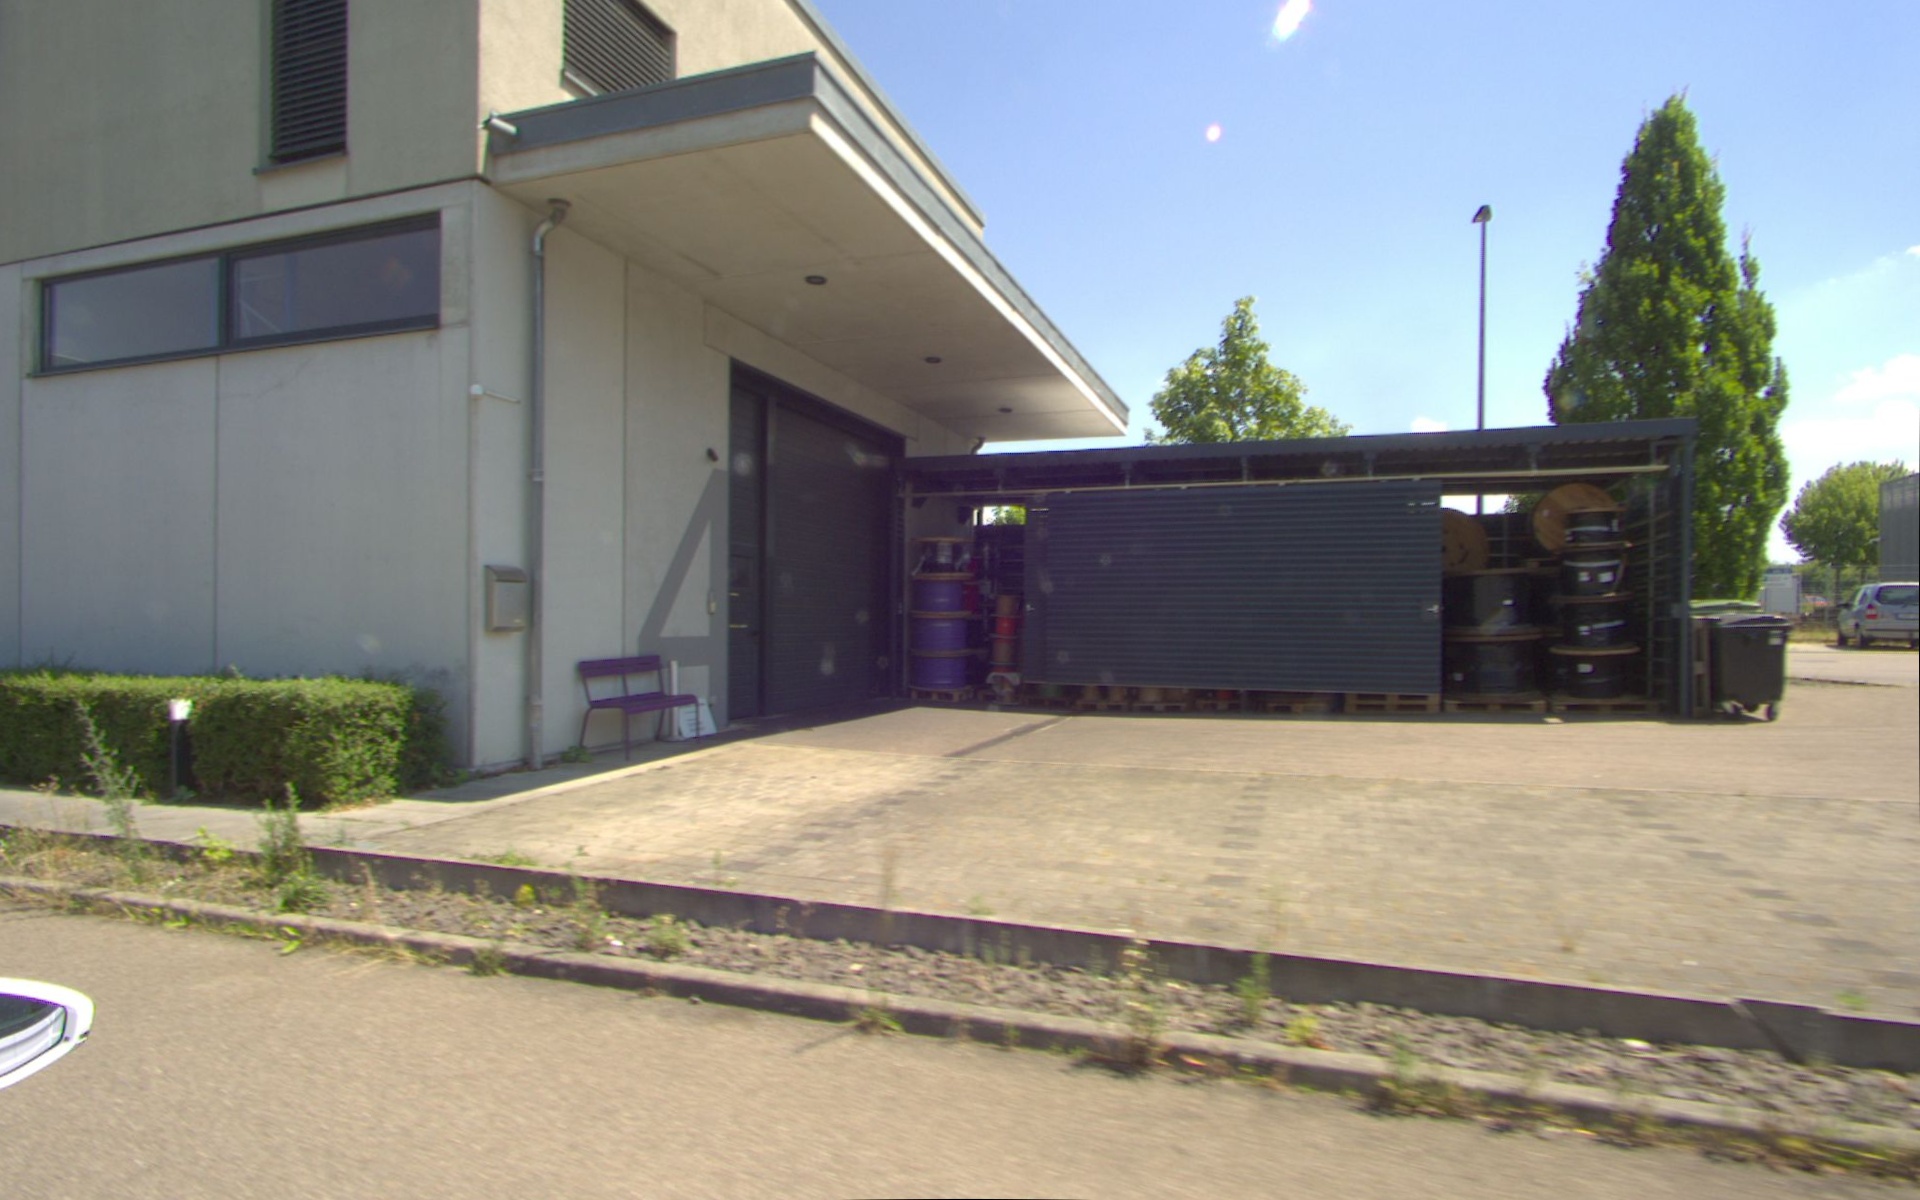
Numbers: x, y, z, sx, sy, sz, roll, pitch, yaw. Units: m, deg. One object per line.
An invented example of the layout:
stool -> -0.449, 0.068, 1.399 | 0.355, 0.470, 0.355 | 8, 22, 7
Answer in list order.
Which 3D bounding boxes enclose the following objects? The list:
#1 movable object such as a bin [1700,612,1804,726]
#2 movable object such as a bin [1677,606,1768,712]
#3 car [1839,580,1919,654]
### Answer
movable object such as a bin -> 9.265, 0.782, 11.755 | 0.789, 1.266, 0.873 | -1, 0, 28
movable object such as a bin -> 9.810, 0.743, 12.912 | 0.789, 1.315, 0.753 | -1, 0, 28
car -> 23.318, 0.397, 24.932 | 1.827, 1.728, 3.972 | 0, 0, 37
